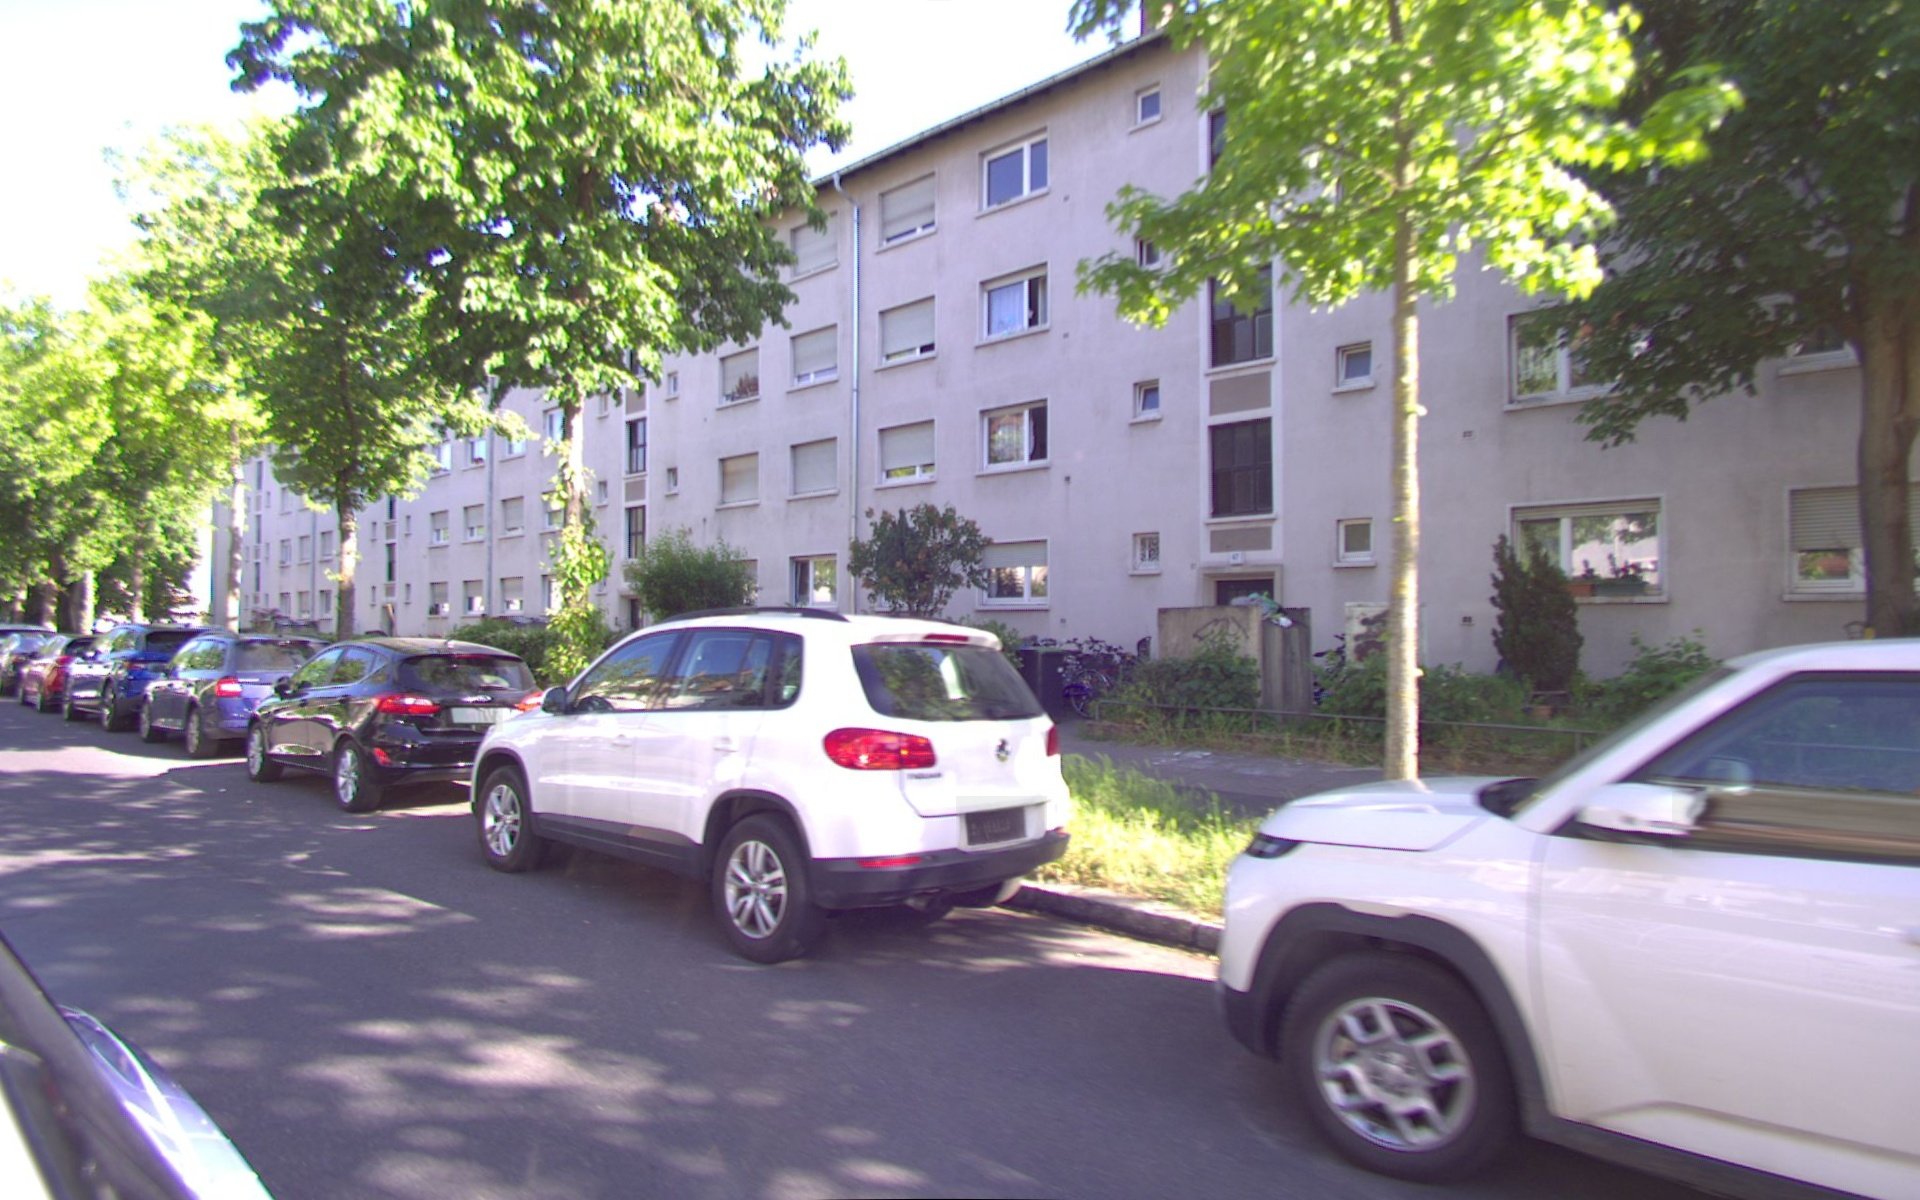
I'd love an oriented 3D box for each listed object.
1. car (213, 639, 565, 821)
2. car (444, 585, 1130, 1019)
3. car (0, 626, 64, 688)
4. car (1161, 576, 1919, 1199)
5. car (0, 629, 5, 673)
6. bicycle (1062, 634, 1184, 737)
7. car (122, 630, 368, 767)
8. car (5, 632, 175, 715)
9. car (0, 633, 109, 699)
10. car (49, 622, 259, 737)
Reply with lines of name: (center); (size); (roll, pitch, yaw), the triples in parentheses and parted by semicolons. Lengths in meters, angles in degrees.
car: (-5.701, 1.084, 9.881); (4.234, 1.402, 1.640); (-2, -3, 41)
car: (-1.263, 0.843, 6.005); (4.221, 1.692, 1.686); (-1, -3, 41)
car: (-26.021, 1.501, 27.552); (4.181, 1.574, 1.855); (-1, -3, 41)
car: (2.705, 0.709, 2.544); (3.997, 1.538, 1.699); (-1, 0, 40)
car: (-34.766, 1.770, 35.293); (4.013, 1.506, 1.746); (-1, 0, 41)
bicycle: (2.578, 1.282, 15.779); (0.721, 1.419, 2.240); (-1, 0, 44)
car: (-9.277, 1.155, 13.020); (3.965, 1.456, 1.632); (-1, -3, 41)
car: (-16.843, 1.358, 19.536); (4.066, 1.385, 1.855); (-1, -3, 41)
car: (-21.743, 1.505, 23.882); (4.181, 1.385, 1.855); (-1, -3, 41)
car: (-12.997, 1.192, 16.233); (4.405, 1.597, 1.796); (-2, -4, 41)
